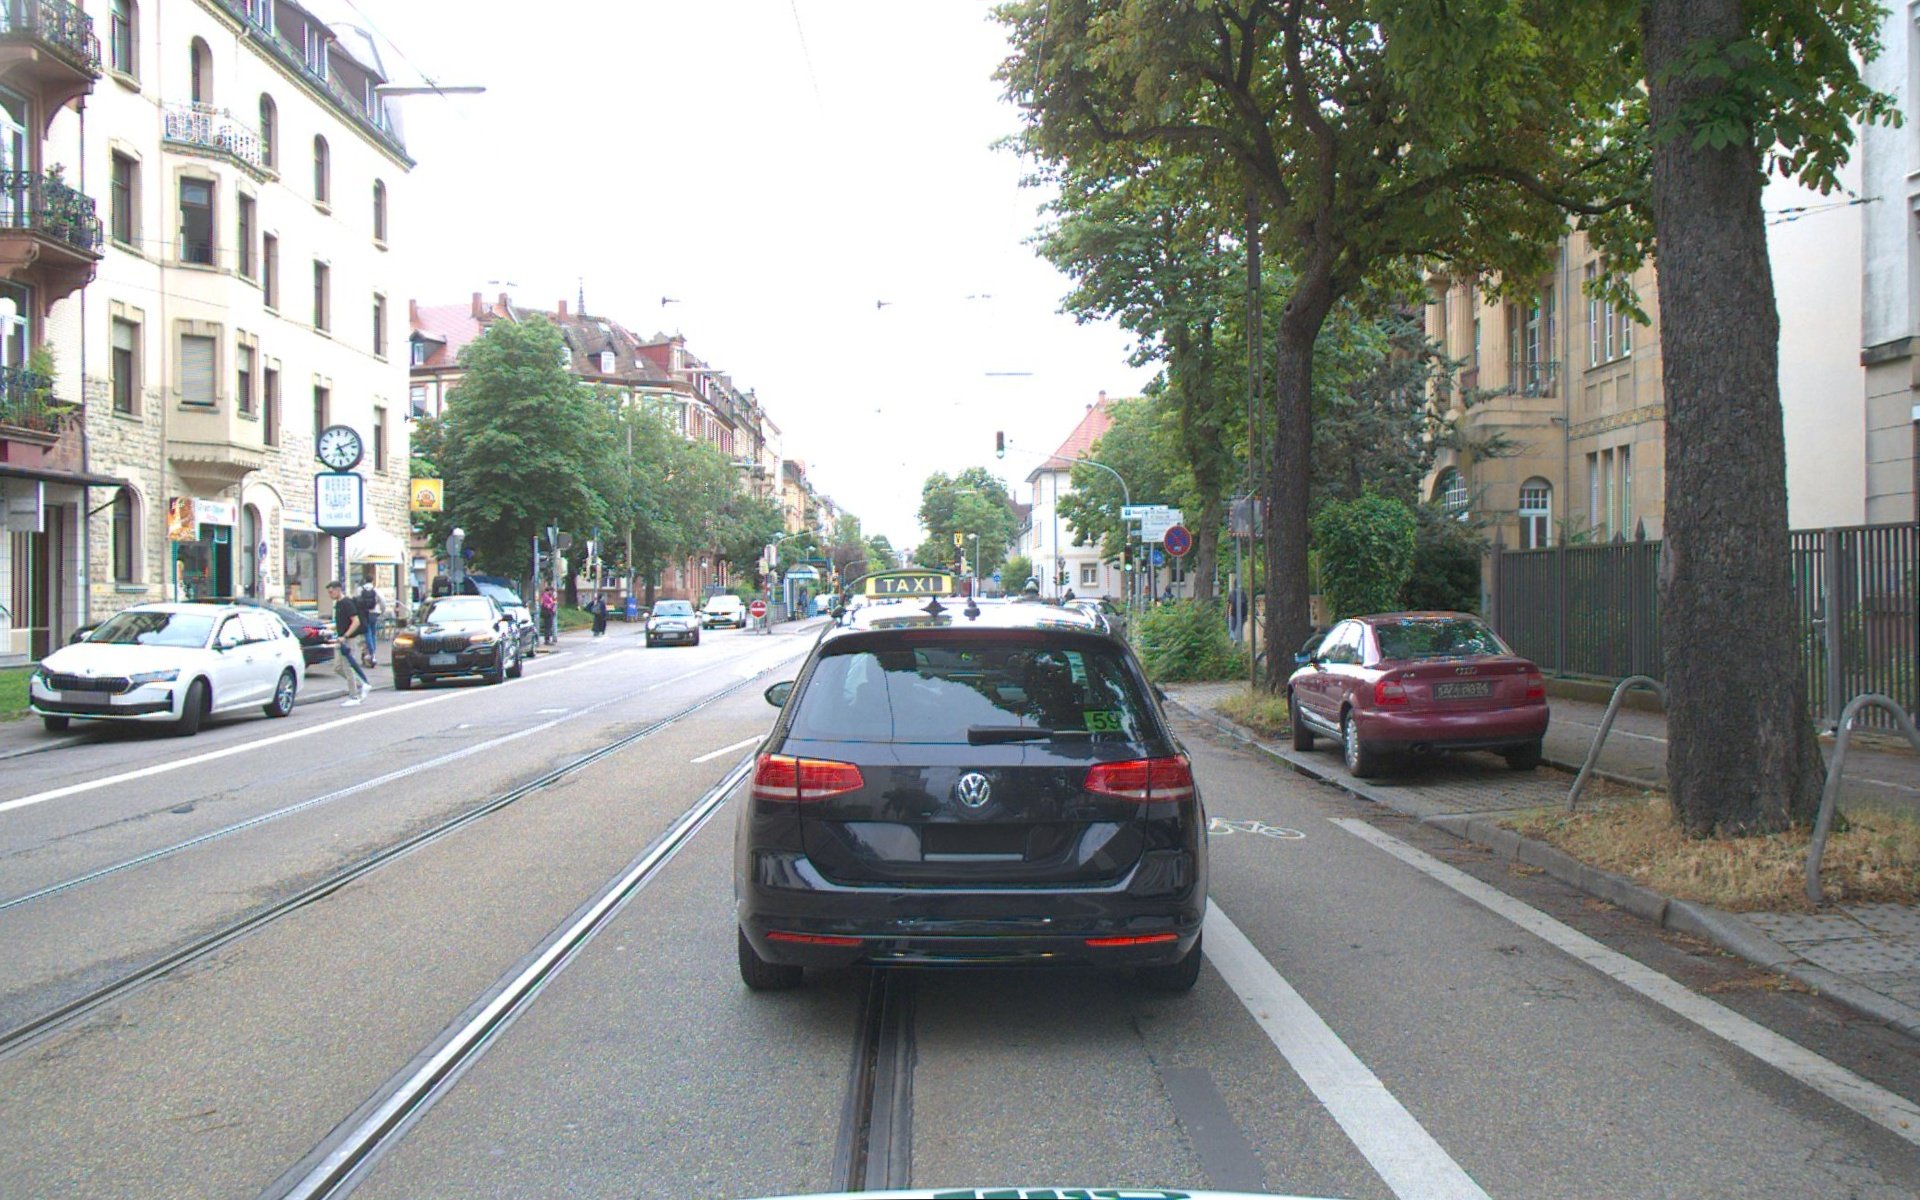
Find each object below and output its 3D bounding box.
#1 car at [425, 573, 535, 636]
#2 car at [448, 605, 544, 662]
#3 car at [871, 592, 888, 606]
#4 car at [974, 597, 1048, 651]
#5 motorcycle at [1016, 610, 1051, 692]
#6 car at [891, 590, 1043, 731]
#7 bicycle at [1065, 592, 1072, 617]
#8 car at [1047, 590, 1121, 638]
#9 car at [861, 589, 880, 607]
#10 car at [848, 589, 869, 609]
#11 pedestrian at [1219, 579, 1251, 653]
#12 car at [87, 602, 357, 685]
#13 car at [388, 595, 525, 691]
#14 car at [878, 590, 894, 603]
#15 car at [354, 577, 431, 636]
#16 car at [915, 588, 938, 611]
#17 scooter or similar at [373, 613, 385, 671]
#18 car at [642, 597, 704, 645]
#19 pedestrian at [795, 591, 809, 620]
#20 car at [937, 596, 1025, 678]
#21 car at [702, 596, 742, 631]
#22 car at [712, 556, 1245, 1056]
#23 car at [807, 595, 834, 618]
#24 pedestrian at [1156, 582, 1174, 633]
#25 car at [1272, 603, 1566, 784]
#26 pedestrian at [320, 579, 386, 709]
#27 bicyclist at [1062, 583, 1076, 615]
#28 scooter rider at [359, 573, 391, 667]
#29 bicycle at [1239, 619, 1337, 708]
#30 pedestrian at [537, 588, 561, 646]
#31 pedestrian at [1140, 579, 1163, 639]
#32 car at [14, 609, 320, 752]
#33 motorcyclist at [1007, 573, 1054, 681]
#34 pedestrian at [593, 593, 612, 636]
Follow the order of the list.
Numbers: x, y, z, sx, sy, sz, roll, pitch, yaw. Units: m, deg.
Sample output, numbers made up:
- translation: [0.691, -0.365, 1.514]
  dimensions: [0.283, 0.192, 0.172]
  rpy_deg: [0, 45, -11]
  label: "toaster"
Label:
- translation: [-19.532, 0.194, 67.213]
  dimensions: [2.168, 2.460, 5.295]
  rpy_deg: [0, 0, -43]
  label: "car"
- translation: [-12.513, 0.873, 44.824]
  dimensions: [1.616, 1.385, 4.127]
  rpy_deg: [2, 0, -3]
  label: "car"
- translation: [-8.682, -0.088, 177.875]
  dimensions: [1.686, 1.490, 3.862]
  rpy_deg: [-1, 0, -1]
  label: "car"
- translation: [1.499, 0.659, 47.379]
  dimensions: [1.852, 1.432, 4.003]
  rpy_deg: [-1, 0, 5]
  label: "car"
- translation: [1.170, 0.798, 26.682]
  dimensions: [0.437, 1.257, 1.906]
  rpy_deg: [-1, 0, -1]
  label: "motorcycle"
- translation: [0.048, 0.665, 20.414]
  dimensions: [1.688, 1.573, 3.999]
  rpy_deg: [0, 0, -1]
  label: "car"
- translation: [5.419, 0.231, 82.636]
  dimensions: [0.291, 1.244, 1.431]
  rpy_deg: [-1, 0, 6]
  label: "bicycle"
- translation: [4.362, 0.479, 57.851]
  dimensions: [1.951, 1.605, 4.003]
  rpy_deg: [1, 0, 13]
  label: "car"
- translation: [-8.713, -0.189, 160.383]
  dimensions: [1.686, 1.651, 3.862]
  rpy_deg: [-1, 0, -1]
  label: "car"
- translation: [-8.906, -0.095, 145.653]
  dimensions: [1.686, 1.651, 3.862]
  rpy_deg: [-1, 0, -1]
  label: "car"
- translation: [6.892, 0.399, 41.486]
  dimensions: [0.619, 1.846, 0.726]
  rpy_deg: [0, 0, -3]
  label: "pedestrian"
- translation: [-14.190, 0.829, 32.010]
  dimensions: [4.340, 1.394, 1.878]
  rpy_deg: [2, 0, -6]
  label: "car"
- translation: [-9.717, 0.776, 32.294]
  dimensions: [1.849, 1.639, 4.876]
  rpy_deg: [-3, 0, -9]
  label: "car"
- translation: [-9.714, -0.503, 216.654]
  dimensions: [1.758, 1.624, 4.001]
  rpy_deg: [-1, 0, 2]
  label: "car"
- translation: [-25.999, 0.284, 75.617]
  dimensions: [2.158, 2.571, 5.320]
  rpy_deg: [0, 0, -32]
  label: "car"
- translation: [-3.030, -0.016, 150.856]
  dimensions: [1.991, 2.049, 3.999]
  rpy_deg: [1, 0, -1]
  label: "car"
- translation: [-12.912, 0.927, 36.759]
  dimensions: [0.228, 1.256, 0.948]
  rpy_deg: [-1, 0, -19]
  label: "scooter or similar"
- translation: [-9.243, 0.649, 53.441]
  dimensions: [1.577, 1.447, 3.484]
  rpy_deg: [-2, 0, -4]
  label: "car"
- translation: [-8.597, 0.294, 90.074]
  dimensions: [0.699, 1.547, 0.590]
  rpy_deg: [0, 0, 0]
  label: "pedestrian"
- translation: [0.376, 0.708, 33.805]
  dimensions: [1.688, 1.573, 3.999]
  rpy_deg: [0, 0, -1]
  label: "car"
- translation: [-11.140, 0.615, 77.537]
  dimensions: [1.666, 1.522, 3.925]
  rpy_deg: [-2, 0, -6]
  label: "car"
- translation: [0.033, 0.641, 7.230]
  dimensions: [1.688, 1.573, 3.999]
  rpy_deg: [0, 0, -1]
  label: "car"
- translation: [-10.234, 0.483, 121.638]
  dimensions: [1.686, 1.651, 3.862]
  rpy_deg: [-1, 0, -1]
  label: "car"
- translation: [7.661, 0.285, 61.724]
  dimensions: [0.503, 1.862, 0.418]
  rpy_deg: [-3, 0, 15]
  label: "pedestrian"
- translation: [4.263, 0.789, 16.022]
  dimensions: [1.569, 1.423, 4.226]
  rpy_deg: [-2, 0, -1]
  label: "car"
- translation: [-9.016, 0.641, 24.589]
  dimensions: [0.654, 1.876, 0.882]
  rpy_deg: [-1, 0, -2]
  label: "pedestrian"
- translation: [5.462, -0.061, 82.756]
  dimensions: [0.637, 1.596, 0.696]
  rpy_deg: [-1, 0, 6]
  label: "bicyclist"
- translation: [-12.999, 0.437, 36.746]
  dimensions: [0.632, 2.049, 0.753]
  rpy_deg: [-1, 0, -20]
  label: "scooter rider"
- translation: [4.681, 0.885, 23.514]
  dimensions: [0.426, 1.219, 1.891]
  rpy_deg: [-1, -1, 44]
  label: "bicycle"
- translation: [-13.266, 0.542, 53.409]
  dimensions: [0.610, 1.875, 0.609]
  rpy_deg: [0, 0, -3]
  label: "pedestrian"
- translation: [6.027, 0.286, 52.064]
  dimensions: [0.573, 1.862, 0.604]
  rpy_deg: [-3, 0, 0]
  label: "pedestrian"
- translation: [-9.725, 0.908, 20.731]
  dimensions: [1.712, 1.510, 4.607]
  rpy_deg: [-1, 0, -2]
  label: "car"
- translation: [1.138, 0.431, 26.780]
  dimensions: [0.688, 1.722, 0.804]
  rpy_deg: [-1, 0, -1]
  label: "motorcyclist"
- translation: [-14.223, 0.590, 65.751]
  dimensions: [0.577, 1.692, 0.839]
  rpy_deg: [0, 0, -1]
  label: "pedestrian"
